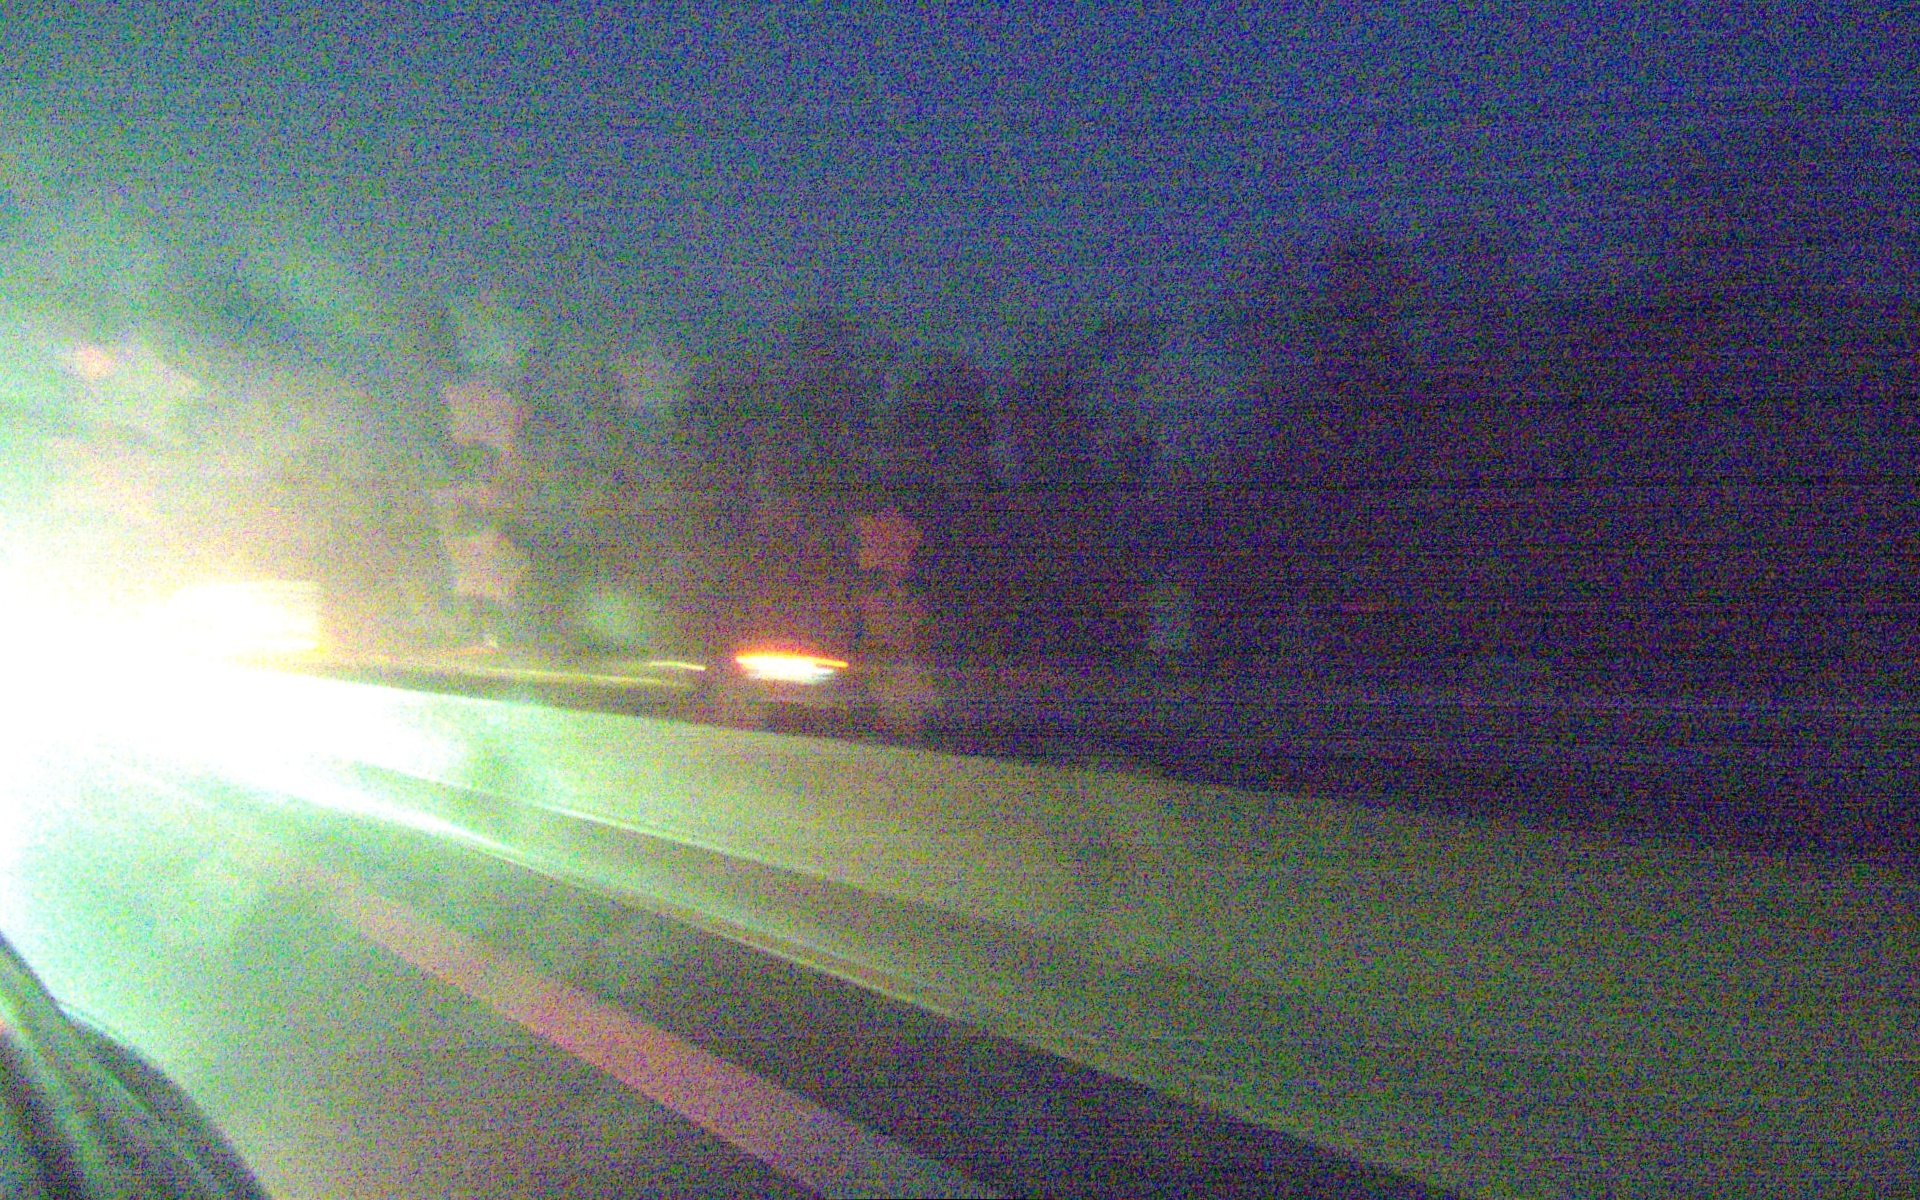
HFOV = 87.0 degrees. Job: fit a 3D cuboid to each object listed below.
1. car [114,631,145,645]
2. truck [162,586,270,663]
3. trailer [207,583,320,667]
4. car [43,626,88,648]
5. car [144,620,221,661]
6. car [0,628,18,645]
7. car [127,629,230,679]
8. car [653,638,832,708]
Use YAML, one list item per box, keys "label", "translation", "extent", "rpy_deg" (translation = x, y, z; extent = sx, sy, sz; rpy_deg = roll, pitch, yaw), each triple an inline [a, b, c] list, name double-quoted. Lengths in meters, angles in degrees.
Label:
- label: "car"
  translation: [-94.939, 4.282, 115.702]
  extent: [4.347, 1.482, 1.845]
  rpy_deg: [-1, 0, 38]
- label: "truck"
  translation: [-46.196, 1.507, 62.624]
  extent: [11.431, 4.360, 2.900]
  rpy_deg: [-1, -3, 41]
- label: "trailer"
  translation: [-38.533, 1.387, 55.855]
  extent: [8.932, 4.309, 2.909]
  rpy_deg: [-1, -3, 41]
- label: "car"
  translation: [-62.859, 2.603, 71.090]
  extent: [4.113, 1.537, 1.736]
  rpy_deg: [-2, -3, 40]
- label: "car"
  translation: [-37.655, 1.920, 48.979]
  extent: [4.878, 1.837, 2.041]
  rpy_deg: [-1, 0, 41]
- label: "car"
  translation: [-94.252, 3.557, 99.537]
  extent: [4.511, 1.593, 1.842]
  rpy_deg: [-1, 0, 41]
- label: "car"
  translation: [-26.407, 1.771, 34.164]
  extent: [4.445, 1.486, 1.944]
  rpy_deg: [-1, 0, 41]
- label: "car"
  translation: [-5.728, 1.802, 26.237]
  extent: [4.963, 1.512, 1.973]
  rpy_deg: [-1, 0, 41]
